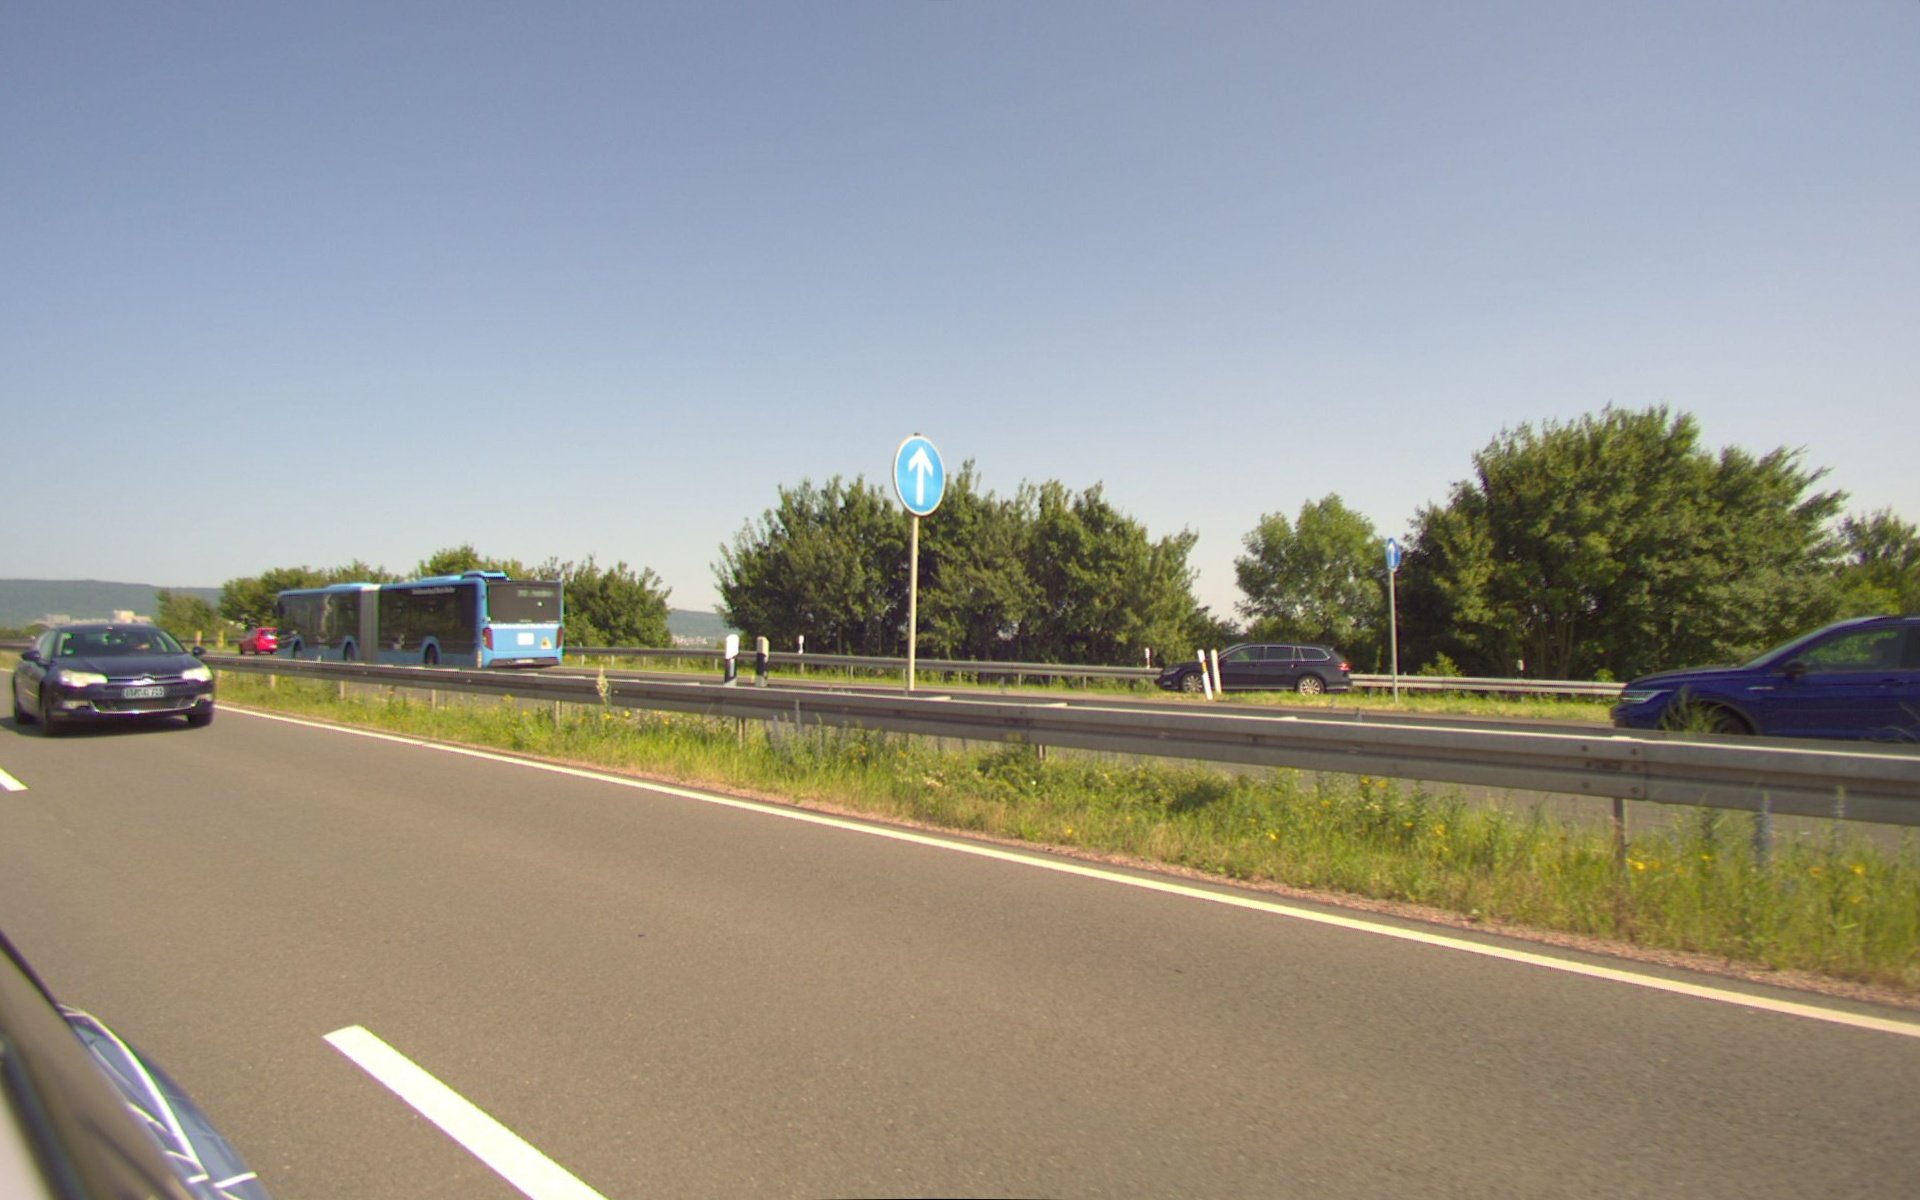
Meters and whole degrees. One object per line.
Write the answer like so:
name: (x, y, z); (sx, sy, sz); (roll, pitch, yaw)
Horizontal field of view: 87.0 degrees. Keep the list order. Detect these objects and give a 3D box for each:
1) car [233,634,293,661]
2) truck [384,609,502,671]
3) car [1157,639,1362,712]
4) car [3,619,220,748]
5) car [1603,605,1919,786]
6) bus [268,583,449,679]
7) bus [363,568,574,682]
car: (-39.502, 2.670, 57.315); (3.996, 1.457, 1.767); (-2, -3, 39)
truck: (-22.336, 1.743, 43.586); (6.613, 2.472, 2.104); (-2, -4, 41)
car: (7.389, 1.865, 25.424); (4.701, 1.713, 1.834); (-1, -1, 11)
car: (-12.165, 1.084, 14.407); (4.373, 1.545, 1.765); (-2, -2, 42)
car: (9.142, 0.887, 10.145); (4.272, 1.617, 1.973); (-3, -2, 41)
bus: (-22.412, 1.175, 37.406); (9.828, 3.134, 2.697); (-2, -3, 40)
bus: (-15.467, 0.821, 31.507); (8.385, 3.134, 2.698); (-2, -3, 40)
